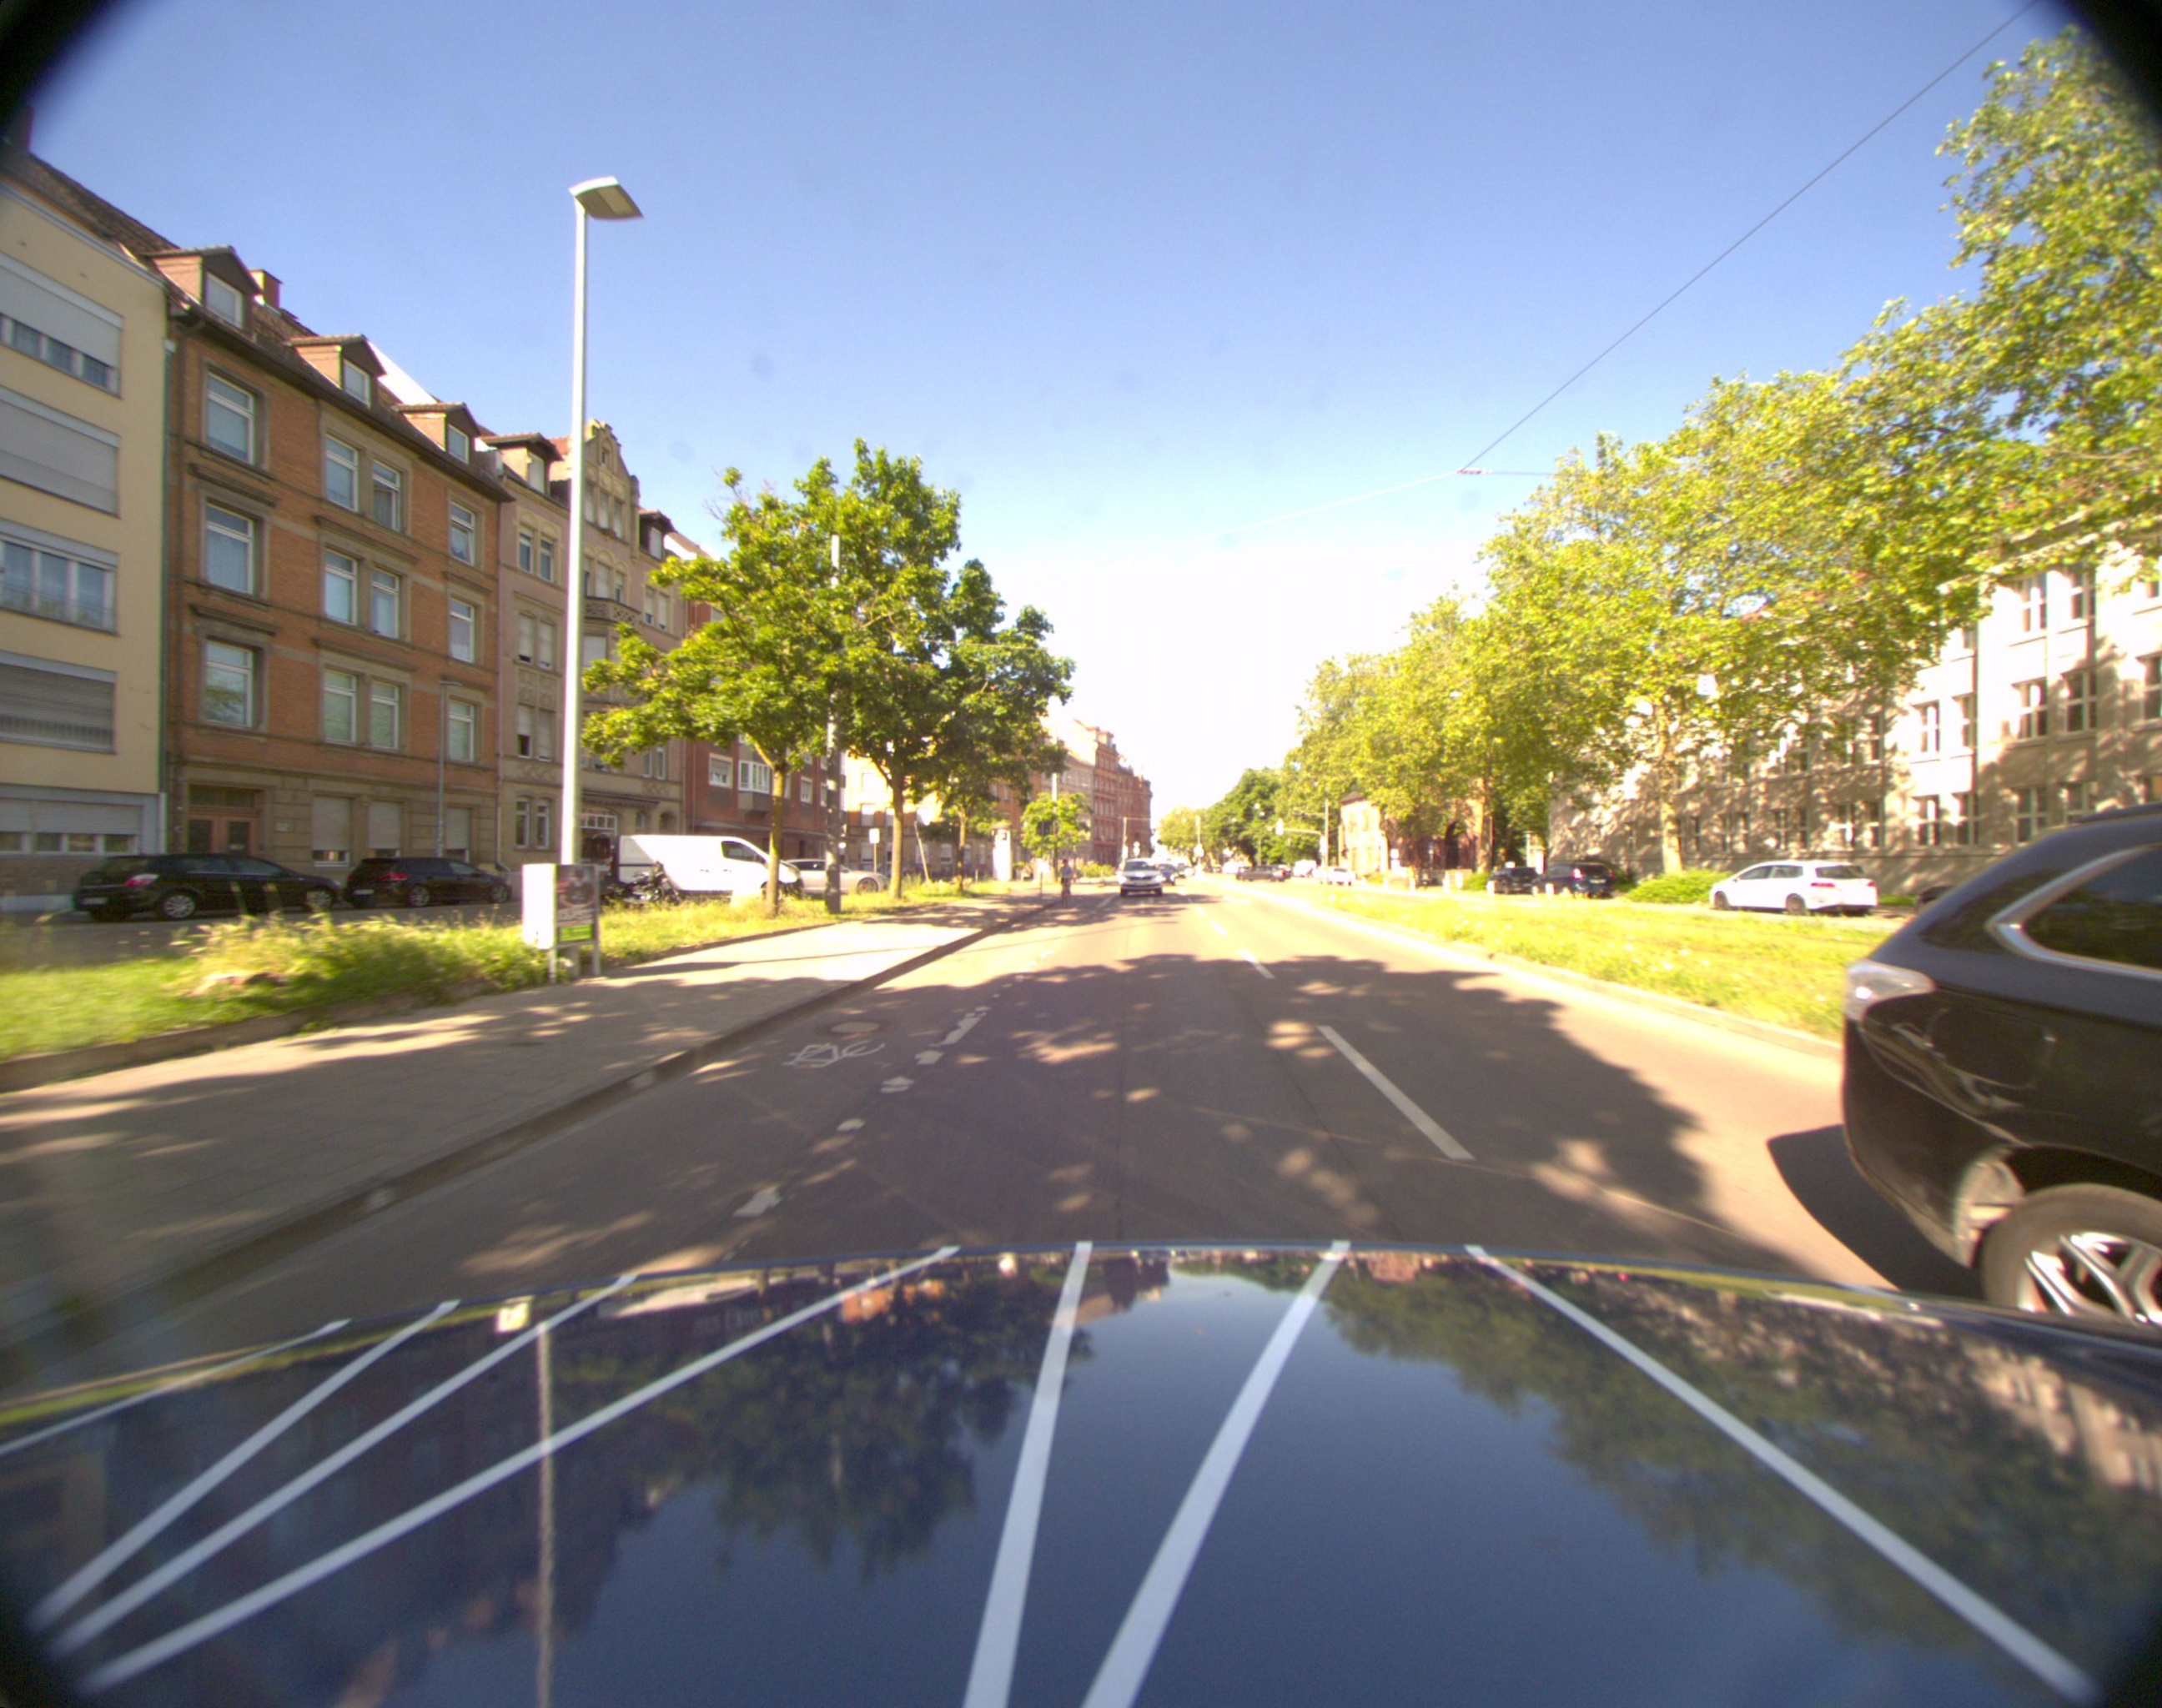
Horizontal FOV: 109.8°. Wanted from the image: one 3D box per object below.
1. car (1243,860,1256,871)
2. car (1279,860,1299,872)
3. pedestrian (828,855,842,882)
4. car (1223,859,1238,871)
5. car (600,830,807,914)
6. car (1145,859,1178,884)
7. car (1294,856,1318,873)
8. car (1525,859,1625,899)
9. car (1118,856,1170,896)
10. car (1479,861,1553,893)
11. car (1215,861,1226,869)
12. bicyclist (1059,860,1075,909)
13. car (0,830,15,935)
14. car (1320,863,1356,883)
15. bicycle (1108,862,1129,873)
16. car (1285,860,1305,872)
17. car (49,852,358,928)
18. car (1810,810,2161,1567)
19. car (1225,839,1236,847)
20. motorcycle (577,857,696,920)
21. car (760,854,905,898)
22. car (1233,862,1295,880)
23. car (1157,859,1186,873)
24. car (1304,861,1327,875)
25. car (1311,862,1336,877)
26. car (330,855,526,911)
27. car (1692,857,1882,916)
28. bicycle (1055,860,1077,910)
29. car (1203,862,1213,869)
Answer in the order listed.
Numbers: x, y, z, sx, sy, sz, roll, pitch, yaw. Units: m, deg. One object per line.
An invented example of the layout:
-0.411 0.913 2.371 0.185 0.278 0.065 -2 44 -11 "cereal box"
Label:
24.938 1.700 112.569 1.618 1.403 4.093 2 -2 10 "car"
28.815 1.620 105.255 1.794 1.542 4.309 1 -1 4 "car"
-16.151 0.972 49.889 0.592 1.750 0.642 1 0 6 "pedestrian"
25.113 1.865 127.444 2.064 1.880 4.521 3 0 8 "car"
-10.472 0.552 21.291 4.889 2.062 2.016 3 -1 -29 "car"
5.558 1.148 51.861 1.997 1.608 4.267 1 0 9 "car"
28.020 1.330 94.801 1.920 2.084 4.594 1 -1 4 "car"
22.207 1.095 34.365 1.834 1.629 4.397 2 0 3 "car"
2.884 0.943 34.039 1.800 1.626 4.398 1 0 11 "car"
22.820 1.166 40.074 1.675 1.538 4.190 2 0 3 "car"
26.545 2.047 144.619 1.796 1.420 4.378 1 -1 5 "car"
-0.484 1.047 26.267 0.438 1.629 0.779 1 0 6 "bicyclist"
-19.593 0.392 10.854 1.998 1.789 4.629 3 -1 5 "car"
19.835 1.420 58.848 1.833 1.444 4.174 2 0 7 "car"
4.975 1.824 101.022 1.967 1.407 6.833 1 -1 10 "bicycle"
28.304 1.532 100.591 1.794 1.542 3.862 1 -1 5 "car"
-19.265 0.753 17.035 1.882 1.412 4.167 2 -1 5 "car"
3.202 0.737 0.168 1.840 1.672 4.644 0 0 4 "car"
30.607 -2.241 155.245 1.794 1.542 4.310 1 -2 6 "car"
-10.645 0.839 18.258 2.267 1.412 0.852 3 -1 -44 "motorcycle"
-9.374 0.854 28.744 4.889 1.426 2.016 3 -1 -28 "car"
15.777 1.453 65.608 4.945 1.444 1.840 1 -1 44 "car"
9.625 1.293 81.242 1.891 1.418 4.372 1 0 -10 "car"
27.667 1.614 89.792 1.794 1.542 3.862 1 -1 5 "car"
27.030 1.774 84.780 1.778 1.564 3.679 2 -1 4 "car"
-18.810 0.810 22.195 1.731 1.412 4.296 2 -1 5 "car"
21.259 0.918 23.186 1.834 1.578 4.397 2 0 3 "car"
-0.500 1.047 26.307 0.438 1.629 1.940 -4 -1 5 "bicycle"
29.271 2.708 175.355 1.794 1.542 4.309 1 -1 6 "car"
